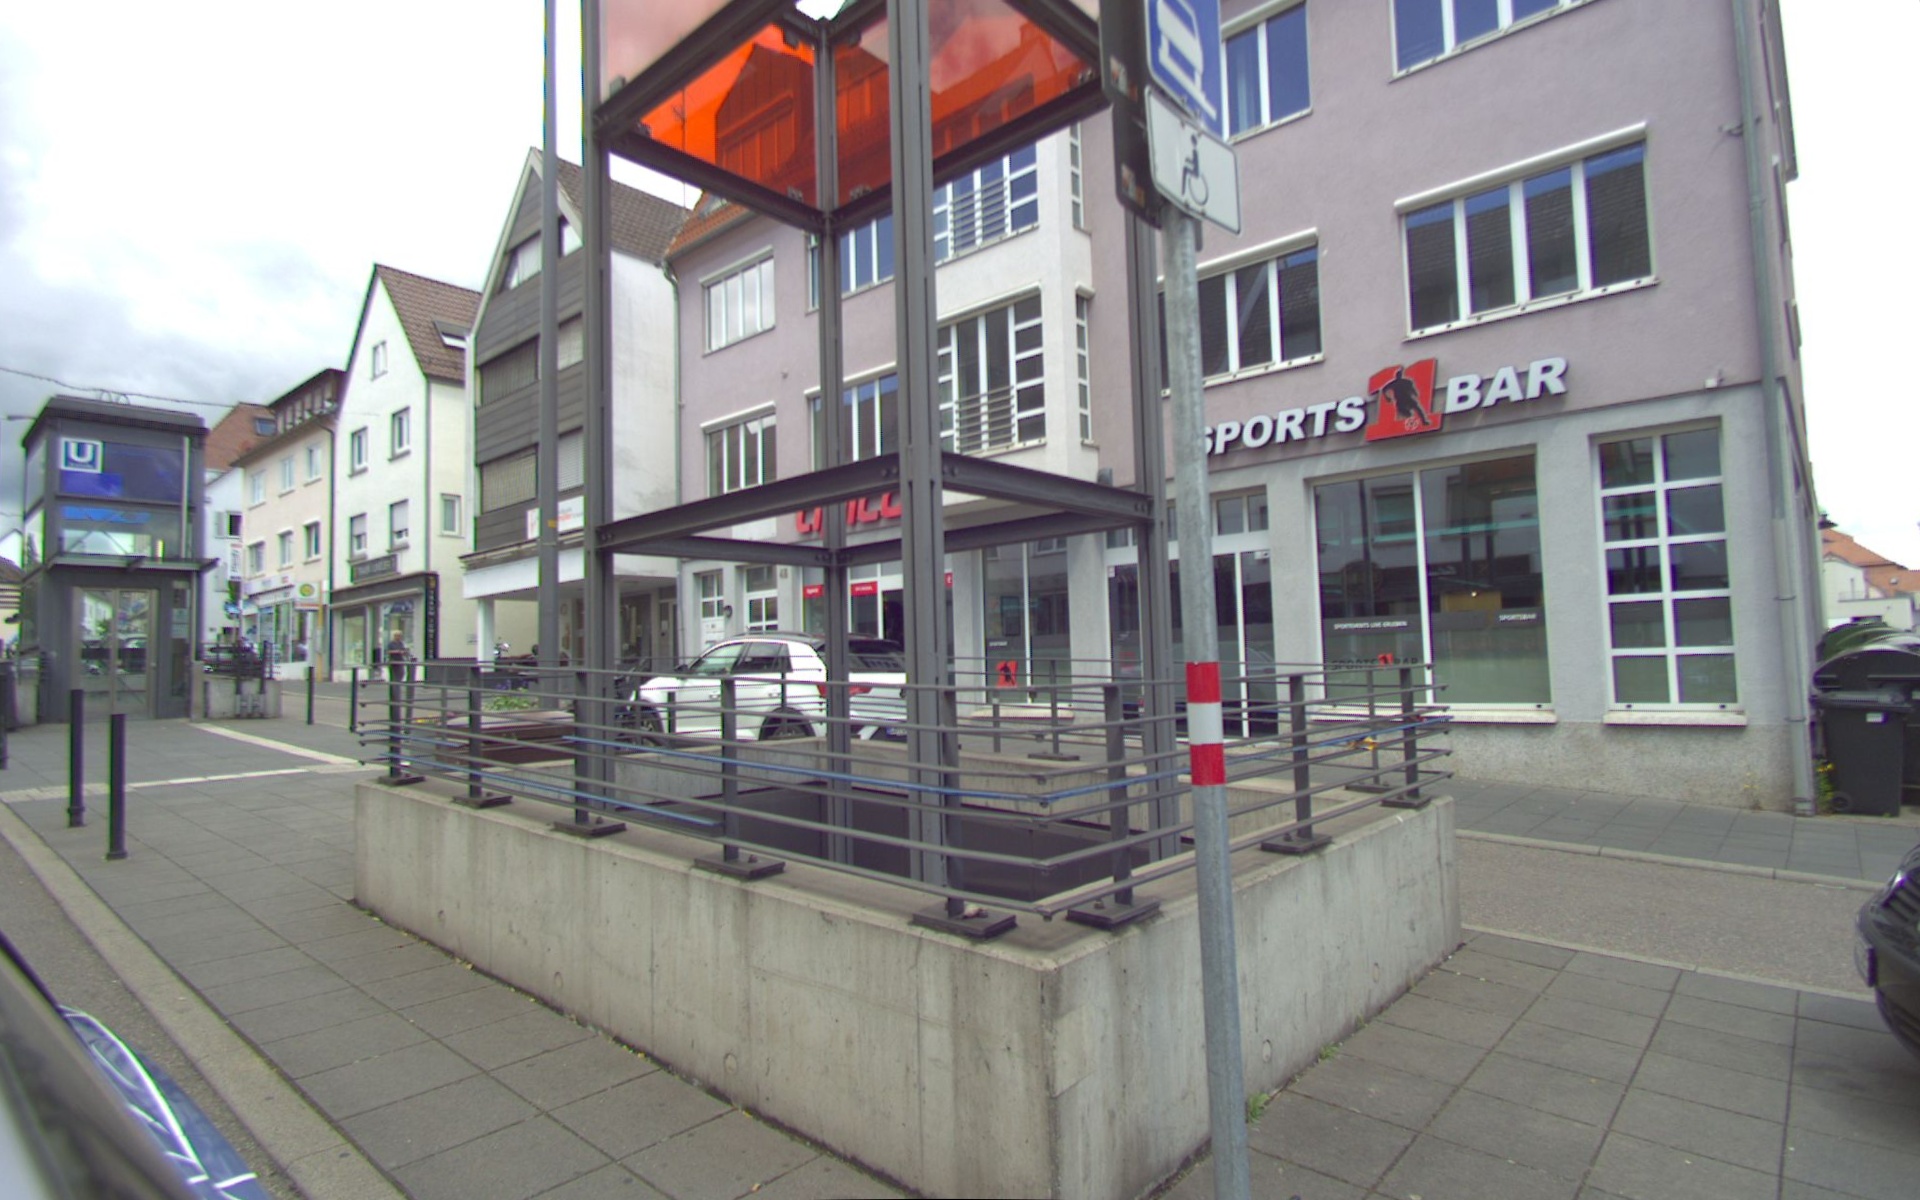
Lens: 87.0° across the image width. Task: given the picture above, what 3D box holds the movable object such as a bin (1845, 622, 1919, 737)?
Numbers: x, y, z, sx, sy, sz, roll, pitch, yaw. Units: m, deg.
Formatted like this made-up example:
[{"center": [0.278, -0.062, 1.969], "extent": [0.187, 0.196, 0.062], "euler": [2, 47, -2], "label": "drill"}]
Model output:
[{"center": [11.913, 0.971, 12.789], "extent": [1.043, 1.387, 1.270], "euler": [-2, -2, 41], "label": "movable object such as a bin"}]

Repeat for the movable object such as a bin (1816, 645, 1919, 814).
[{"center": [7.996, 1.092, 8.803], "extent": [0.807, 1.387, 0.682], "euler": [-2, -2, 41], "label": "movable object such as a bin"}]

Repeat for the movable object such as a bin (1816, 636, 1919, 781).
[{"center": [9.690, 1.069, 10.340], "extent": [1.406, 1.387, 1.270], "euler": [-2, -2, 41], "label": "movable object such as a bin"}]

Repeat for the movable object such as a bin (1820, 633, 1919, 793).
[{"center": [8.759, 1.012, 9.461], "extent": [1.067, 1.387, 1.270], "euler": [-2, -2, 41], "label": "movable object such as a bin"}]

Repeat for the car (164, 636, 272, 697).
[{"center": [-21.608, 1.871, 29.407], "extent": [4.120, 1.583, 1.662], "euler": [-1, -1, 41], "label": "car"}]

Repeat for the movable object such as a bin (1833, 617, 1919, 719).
[{"center": [13.146, 0.937, 14.412], "extent": [1.043, 1.387, 1.270], "euler": [-2, -2, 41], "label": "movable object such as a bin"}]

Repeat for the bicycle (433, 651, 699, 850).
[{"center": [-2.750, 0.996, 7.254], "extent": [0.459, 1.232, 1.760], "euler": [-1, -3, 40], "label": "bicycle"}]

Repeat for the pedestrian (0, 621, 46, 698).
[{"center": [-23.532, 1.469, 25.169], "extent": [0.931, 1.855, 1.083], "euler": [-1, -1, 41], "label": "pedestrian"}]

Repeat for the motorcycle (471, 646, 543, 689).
[{"center": [-13.271, 1.959, 29.709], "extent": [0.634, 1.149, 1.830], "euler": [-1, 0, 40], "label": "motorcycle"}]

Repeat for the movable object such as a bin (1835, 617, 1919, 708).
[{"center": [14.743, 0.981, 16.218], "extent": [1.043, 1.387, 1.270], "euler": [-2, -2, 41], "label": "movable object such as a bin"}]

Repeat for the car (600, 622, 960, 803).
[{"center": [-2.094, 1.053, 11.068], "extent": [4.120, 1.583, 1.662], "euler": [-1, -1, 41], "label": "car"}]

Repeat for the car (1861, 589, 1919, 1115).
[{"center": [4.440, 0.710, 1.972], "extent": [3.849, 1.486, 1.554], "euler": [-1, -4, 37], "label": "car"}]

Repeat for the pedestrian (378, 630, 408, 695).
[{"center": [-15.635, 1.706, 27.900], "extent": [0.513, 1.729, 0.584], "euler": [-1, -1, 41], "label": "pedestrian"}]
